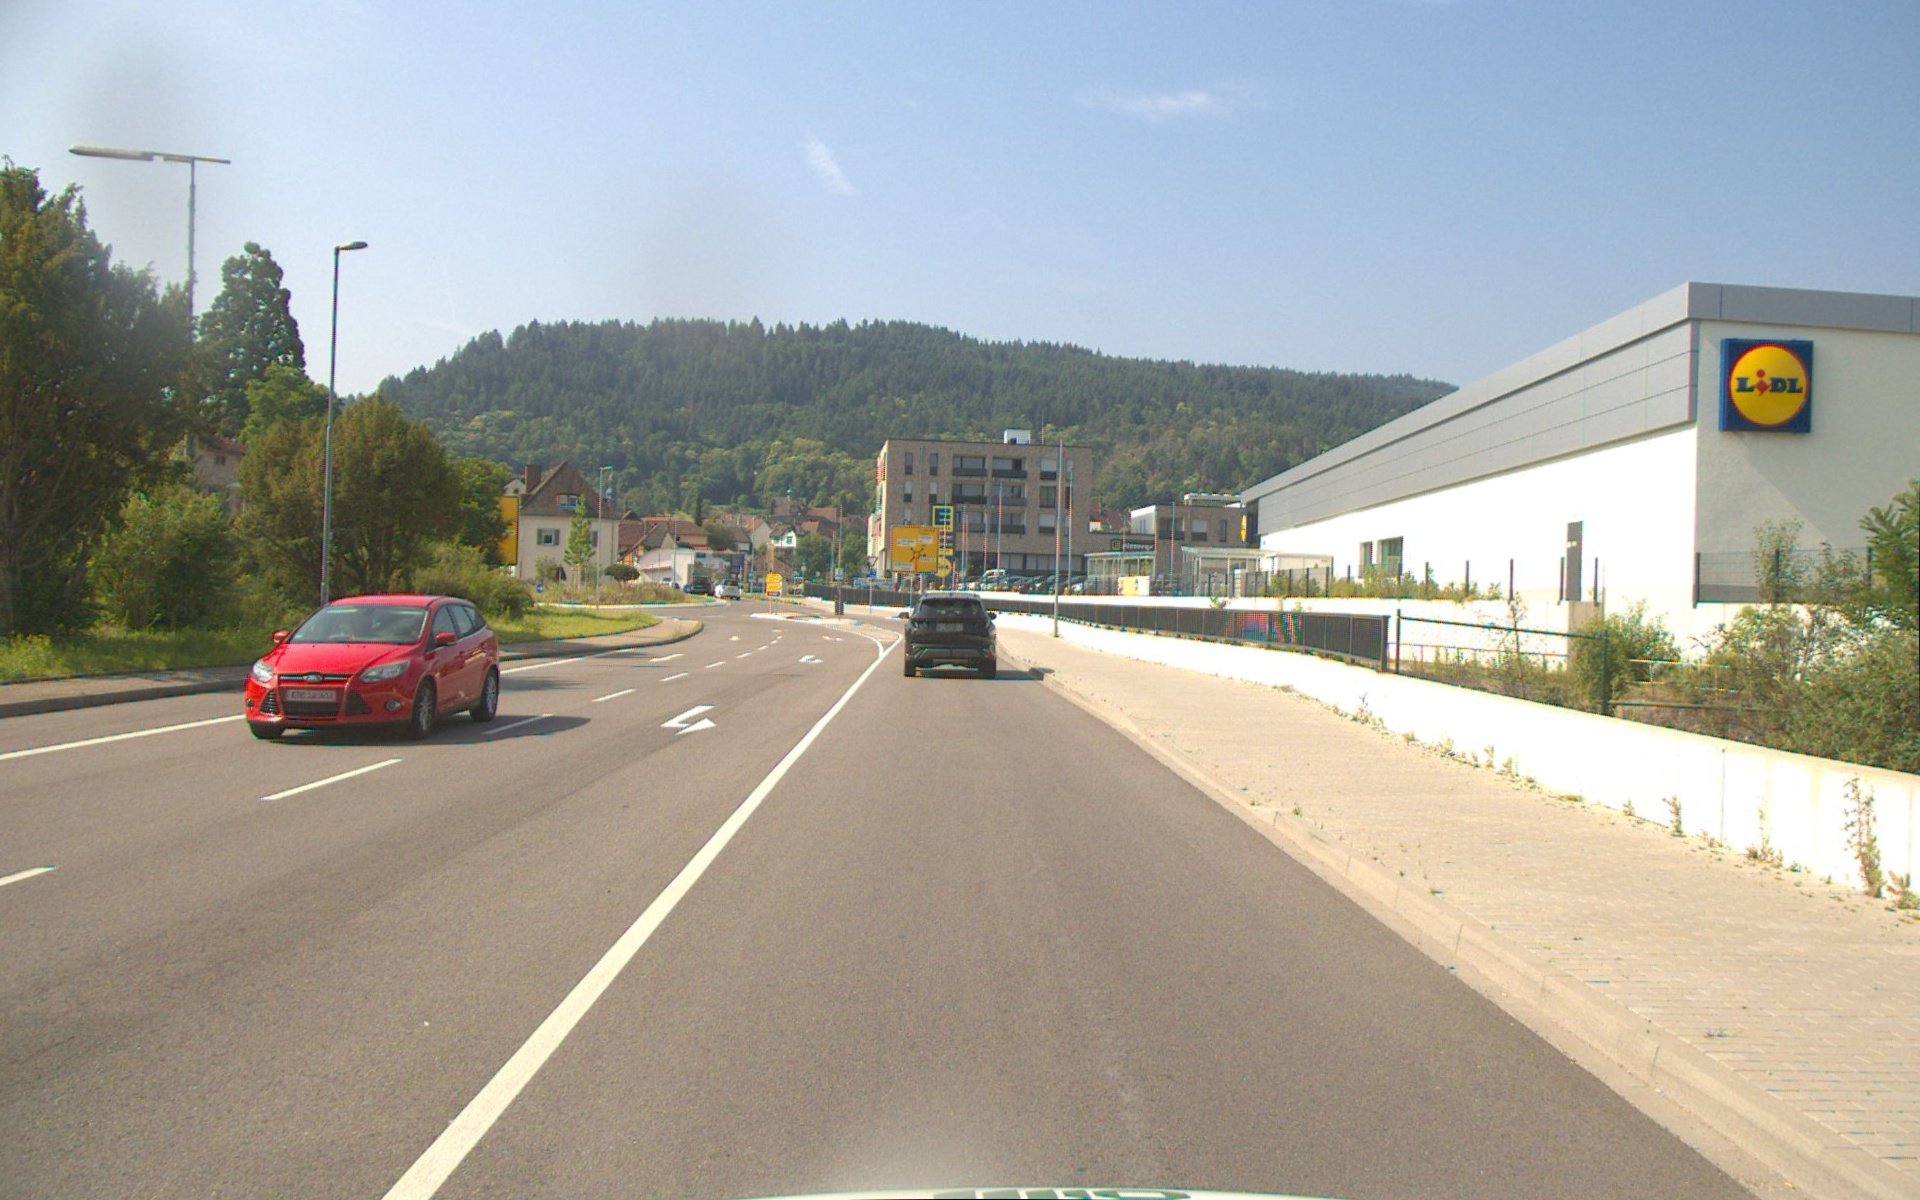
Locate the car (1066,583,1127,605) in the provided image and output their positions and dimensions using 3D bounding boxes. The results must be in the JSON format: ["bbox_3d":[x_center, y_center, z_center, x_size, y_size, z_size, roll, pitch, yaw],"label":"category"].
[{"bbox_3d":[9.091,-0.396,110.279,3.749,1.388,1.671,1,1,-20],"label":"car"}]

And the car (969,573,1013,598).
[{"bbox_3d":[2.745,-1.240,146.845,3.904,2.173,2.000,0,0,2],"label":"car"}]

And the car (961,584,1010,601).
[{"bbox_3d":[1.991,-0.574,130.959,3.502,1.220,1.705,1,1,-19],"label":"car"}]

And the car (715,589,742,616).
[{"bbox_3d":[-18.126,0.170,129.557,1.955,2.049,3.994,0,0,-7],"label":"car"}]

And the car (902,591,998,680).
[{"bbox_3d":[-0.233,0.686,33.895,1.843,1.713,3.999,0,0,-1],"label":"car"}]

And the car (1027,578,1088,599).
[{"bbox_3d":[6.879,-0.811,117.121,3.946,1.428,1.715,1,1,-20],"label":"car"}]

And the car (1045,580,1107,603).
[{"bbox_3d":[7.958,-0.584,113.359,4.001,1.428,1.477,1,1,-20],"label":"car"}]

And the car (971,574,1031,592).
[{"bbox_3d":[3.129,-1.311,125.452,4.215,1.267,1.655,1,1,-20],"label":"car"}]

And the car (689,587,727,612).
[{"bbox_3d":[-21.515,-0.020,141.234,1.951,2.049,4.003,0,0,11],"label":"car"}]

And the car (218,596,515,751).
[{"bbox_3d":[-6.436,0.733,18.499,1.800,1.518,4.430,0,0,-2],"label":"car"}]
